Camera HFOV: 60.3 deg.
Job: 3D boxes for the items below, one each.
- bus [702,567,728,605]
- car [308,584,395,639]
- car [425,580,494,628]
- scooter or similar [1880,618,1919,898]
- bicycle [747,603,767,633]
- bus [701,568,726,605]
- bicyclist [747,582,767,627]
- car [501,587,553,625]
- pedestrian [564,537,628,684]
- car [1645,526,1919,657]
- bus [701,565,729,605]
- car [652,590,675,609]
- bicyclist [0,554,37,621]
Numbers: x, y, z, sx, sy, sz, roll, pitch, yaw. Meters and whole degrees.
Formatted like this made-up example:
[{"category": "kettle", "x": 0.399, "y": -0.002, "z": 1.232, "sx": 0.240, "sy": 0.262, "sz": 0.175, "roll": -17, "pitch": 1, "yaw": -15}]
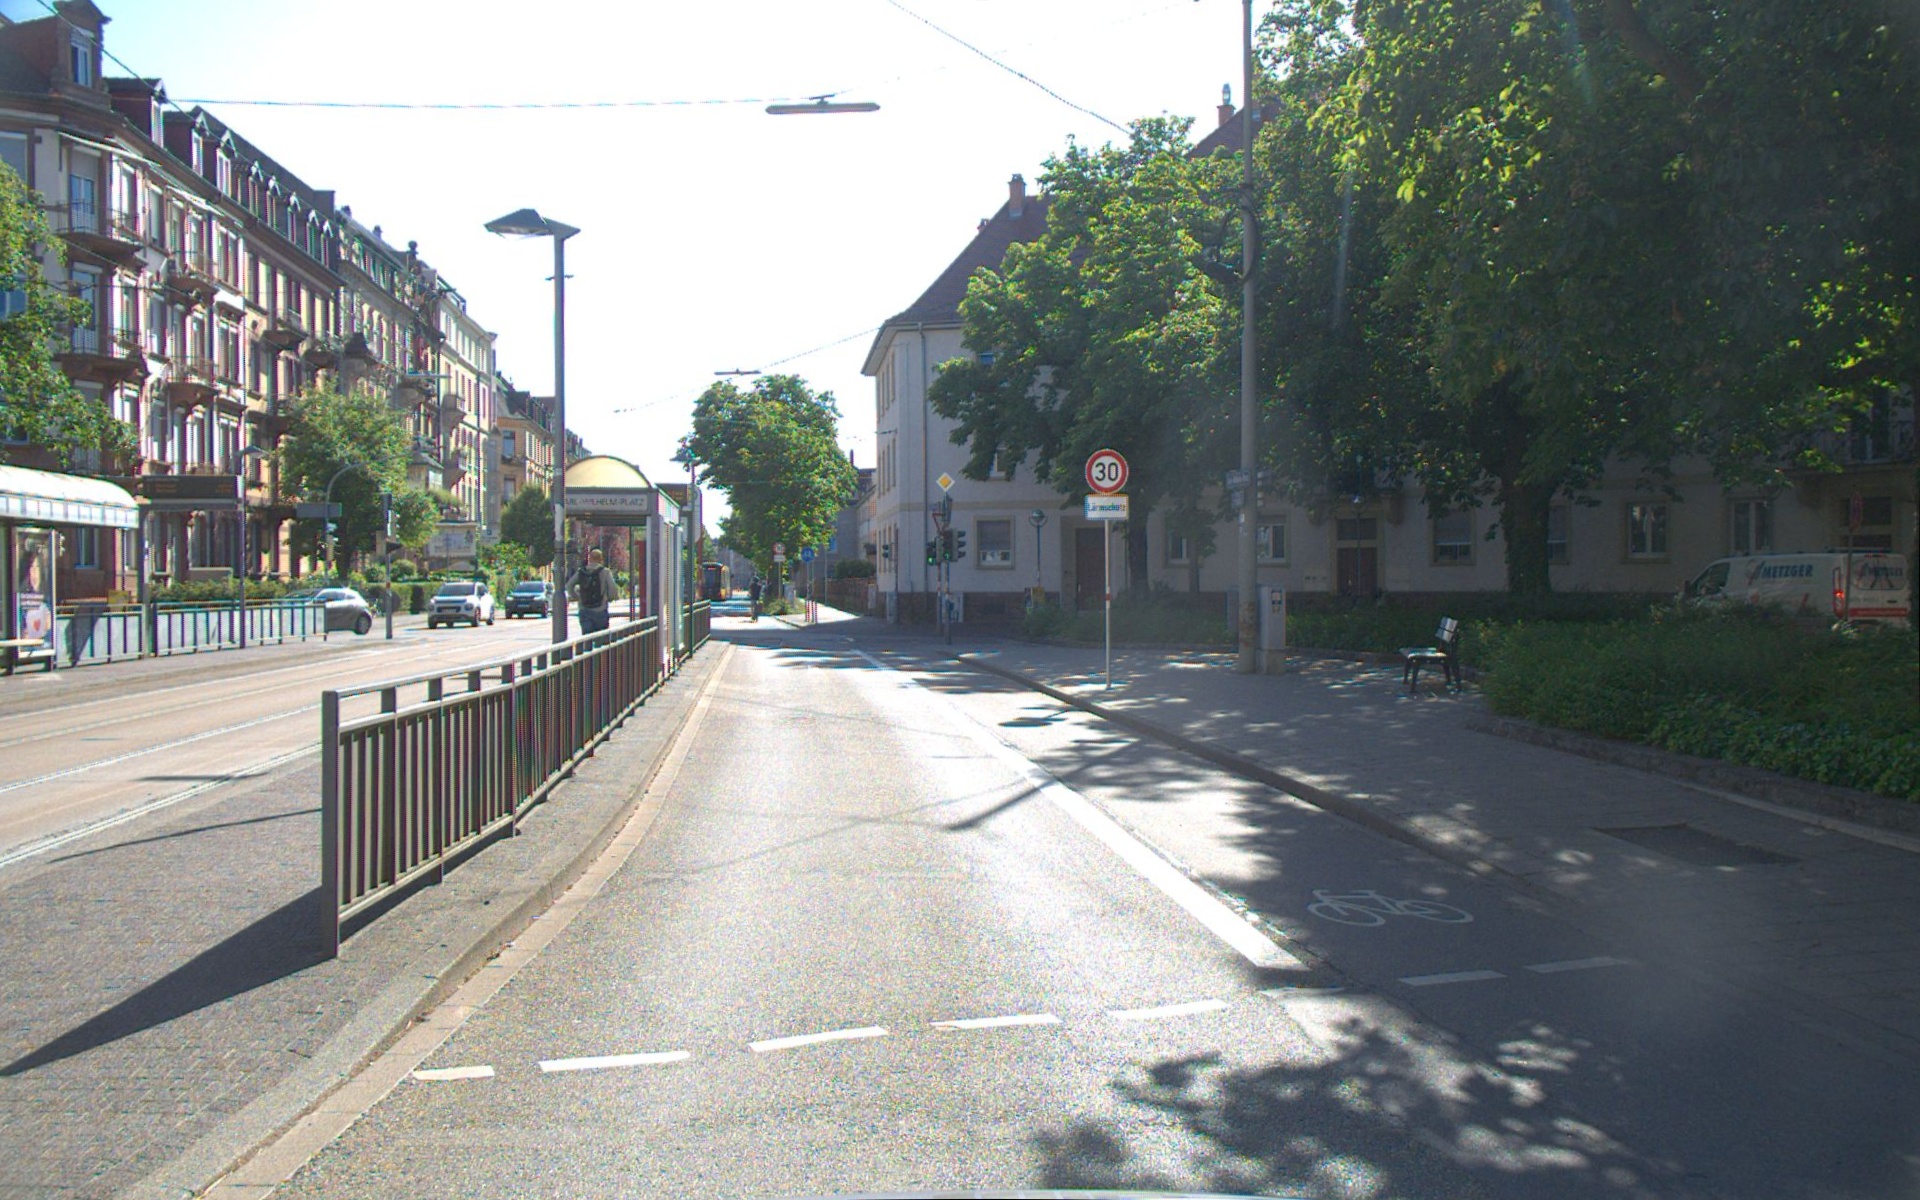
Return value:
[{"category": "bus", "x": -23.332, "y": -1.297, "z": 157.043, "sx": 2.341, "sy": 3.557, "sz": 7.369, "roll": 1, "pitch": 0, "yaw": -9}, {"category": "car", "x": -19.218, "y": 0.357, "z": 52.407, "sx": 1.743, "sy": 1.646, "sz": 3.993, "roll": 1, "pitch": 0, "yaw": -8}, {"category": "car", "x": -17.943, "y": 0.150, "z": 59.438, "sx": 1.743, "sy": 1.646, "sz": 3.993, "roll": 1, "pitch": 0, "yaw": -8}, {"category": "scooter or similar", "x": 4.949, "y": 0.760, "z": 7.557, "sx": 0.663, "sy": 1.333, "sz": 1.327, "roll": 1, "pitch": 0, "yaw": -6}, {"category": "bicycle", "x": -8.399, "y": 0.738, "z": 68.505, "sx": 0.826, "sy": 1.176, "sz": 2.535, "roll": 1, "pitch": 0, "yaw": -7}, {"category": "bus", "x": -24.486, "y": -1.286, "z": 164.353, "sx": 2.341, "sy": 3.557, "sz": 7.369, "roll": 1, "pitch": 0, "yaw": -9}, {"category": "bicyclist", "x": -8.413, "y": 0.188, "z": 68.496, "sx": 0.802, "sy": 1.843, "sz": 1.057, "roll": 1, "pitch": 0, "yaw": -7}, {"category": "car", "x": -19.232, "y": 0.262, "z": 73.592, "sx": 1.743, "sy": 1.646, "sz": 3.993, "roll": 1, "pitch": 0, "yaw": -8}, {"category": "pedestrian", "x": -5.183, "y": 0.153, "z": 23.582, "sx": 0.780, "sy": 2.049, "sz": 0.739, "roll": 1, "pitch": 0, "yaw": -6}, {"category": "car", "x": 15.475, "y": -0.135, "z": 31.103, "sx": 2.086, "sy": 2.247, "sz": 4.918, "roll": 1, "pitch": 0, "yaw": -18}, {"category": "bus", "x": -22.207, "y": -1.314, "z": 149.743, "sx": 2.341, "sy": 3.557, "sz": 7.369, "roll": 1, "pitch": 0, "yaw": -9}, {"category": "car", "x": -26.305, "y": -0.046, "z": 146.880, "sx": 1.957, "sy": 1.624, "sz": 3.991, "roll": 1, "pitch": 0, "yaw": -10}, {"category": "bicyclist", "x": -24.229, "y": -0.315, "z": 42.426, "sx": 0.699, "sy": 1.694, "sz": 0.734, "roll": 1, "pitch": 0, "yaw": -3}]
